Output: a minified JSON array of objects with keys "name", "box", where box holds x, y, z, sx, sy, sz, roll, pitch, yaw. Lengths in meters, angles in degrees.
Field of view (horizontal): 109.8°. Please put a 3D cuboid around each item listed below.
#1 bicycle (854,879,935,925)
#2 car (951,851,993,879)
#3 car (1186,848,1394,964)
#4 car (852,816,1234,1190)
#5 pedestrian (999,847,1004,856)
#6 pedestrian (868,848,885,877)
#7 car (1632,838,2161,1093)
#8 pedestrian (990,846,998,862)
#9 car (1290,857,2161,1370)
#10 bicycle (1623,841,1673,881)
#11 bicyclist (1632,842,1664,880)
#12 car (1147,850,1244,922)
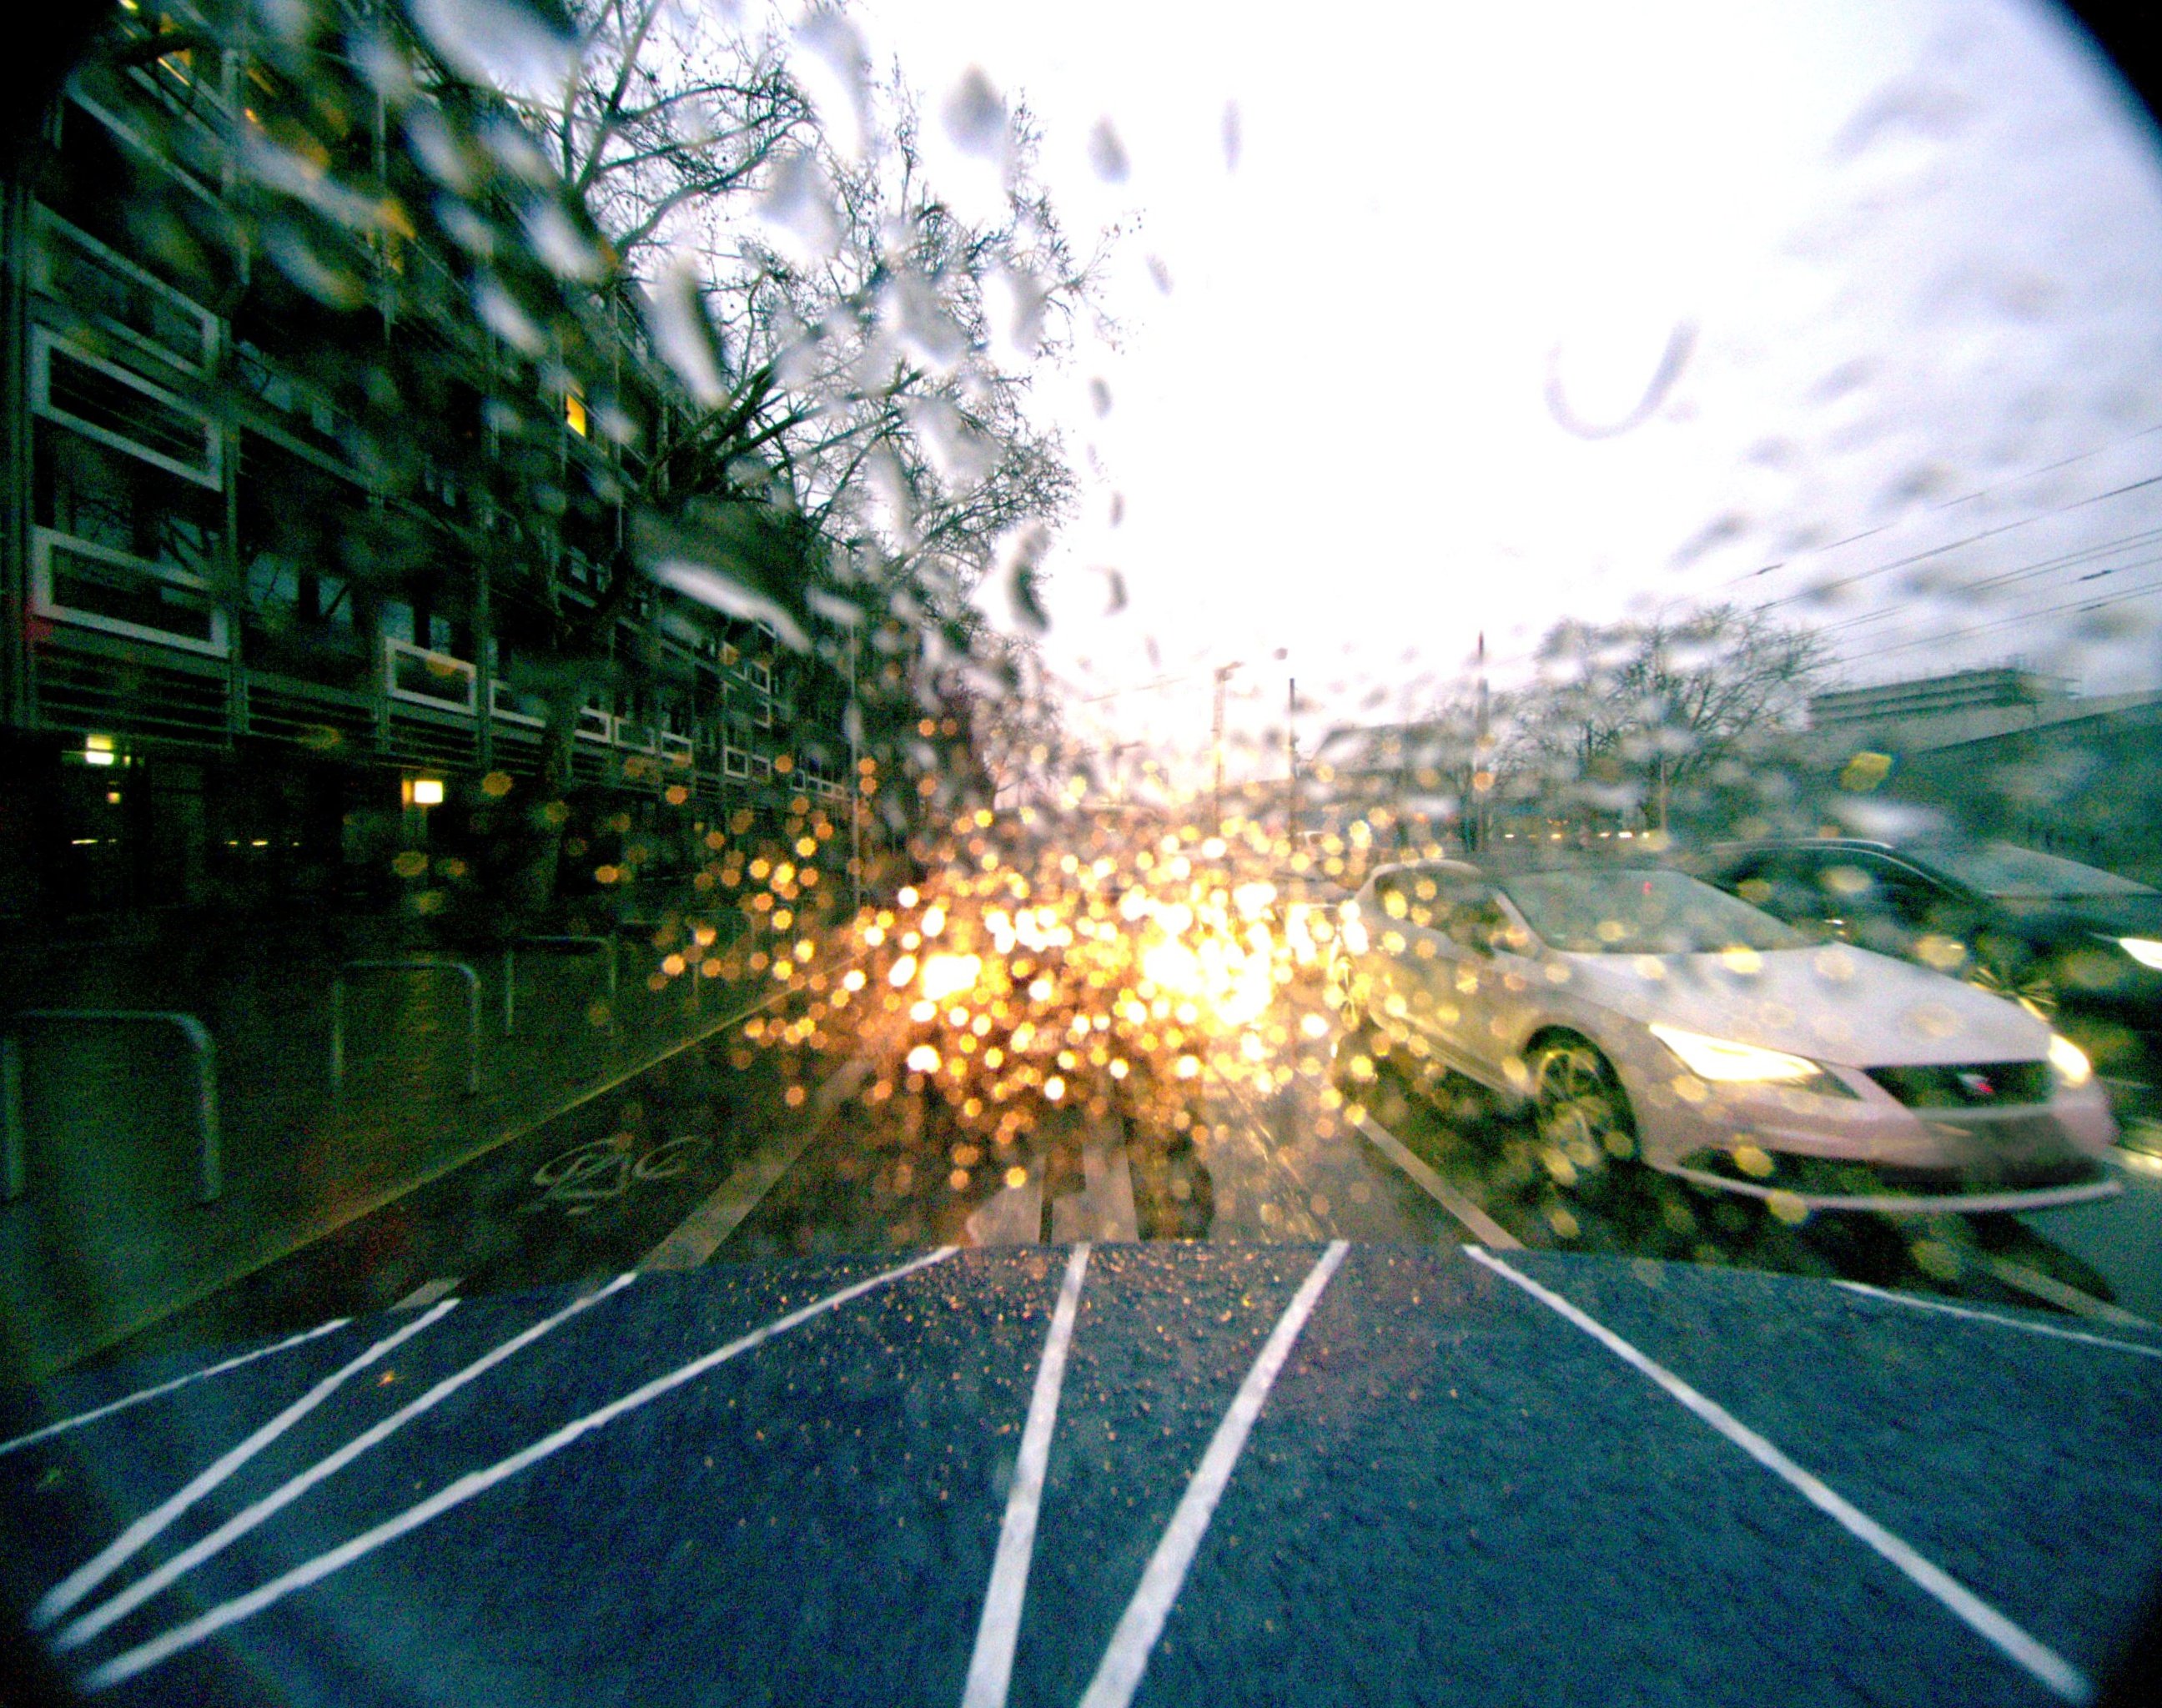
[{"name":"bicycle","box":[-4.431,1.129,18.162,1.704,0.987,0.879,1,1,0]},{"name":"car","box":[-6.219,0.599,43.757,1.713,1.455,3.999,-2,1,1]},{"name":"car","box":[3.025,0.656,12.113,1.999,1.478,4.504,0,1,-1]},{"name":"car","box":[-0.263,0.730,5.870,1.878,1.830,3.998,-2,1,-3]},{"name":"pedestrian","box":[-15.190,-0.514,145.208,0.766,1.740,0.928,0,1,-4]},{"name":"pedestrian","box":[-12.452,0.517,46.295,0.766,1.740,0.928,0,1,-4]},{"name":"car","box":[7.364,0.635,6.499,1.853,1.499,4.662,-1,1,-1]},{"name":"pedestrian","box":[-9.430,0.013,82.530,0.766,1.740,0.928,0,1,-4]},{"name":"car","box":[2.993,0.821,4.664,1.949,1.478,4.504,-2,1,-3]},{"name":"bicycle","box":[26.398,0.307,35.434,0.763,1.723,2.063,-2,2,-2]},{"name":"bicyclist","box":[26.397,0.307,35.361,0.763,1.723,0.960,-2,3,-2]},{"name":"car","box":[2.829,0.727,19.590,1.907,1.565,3.999,-2,1,1]}]
